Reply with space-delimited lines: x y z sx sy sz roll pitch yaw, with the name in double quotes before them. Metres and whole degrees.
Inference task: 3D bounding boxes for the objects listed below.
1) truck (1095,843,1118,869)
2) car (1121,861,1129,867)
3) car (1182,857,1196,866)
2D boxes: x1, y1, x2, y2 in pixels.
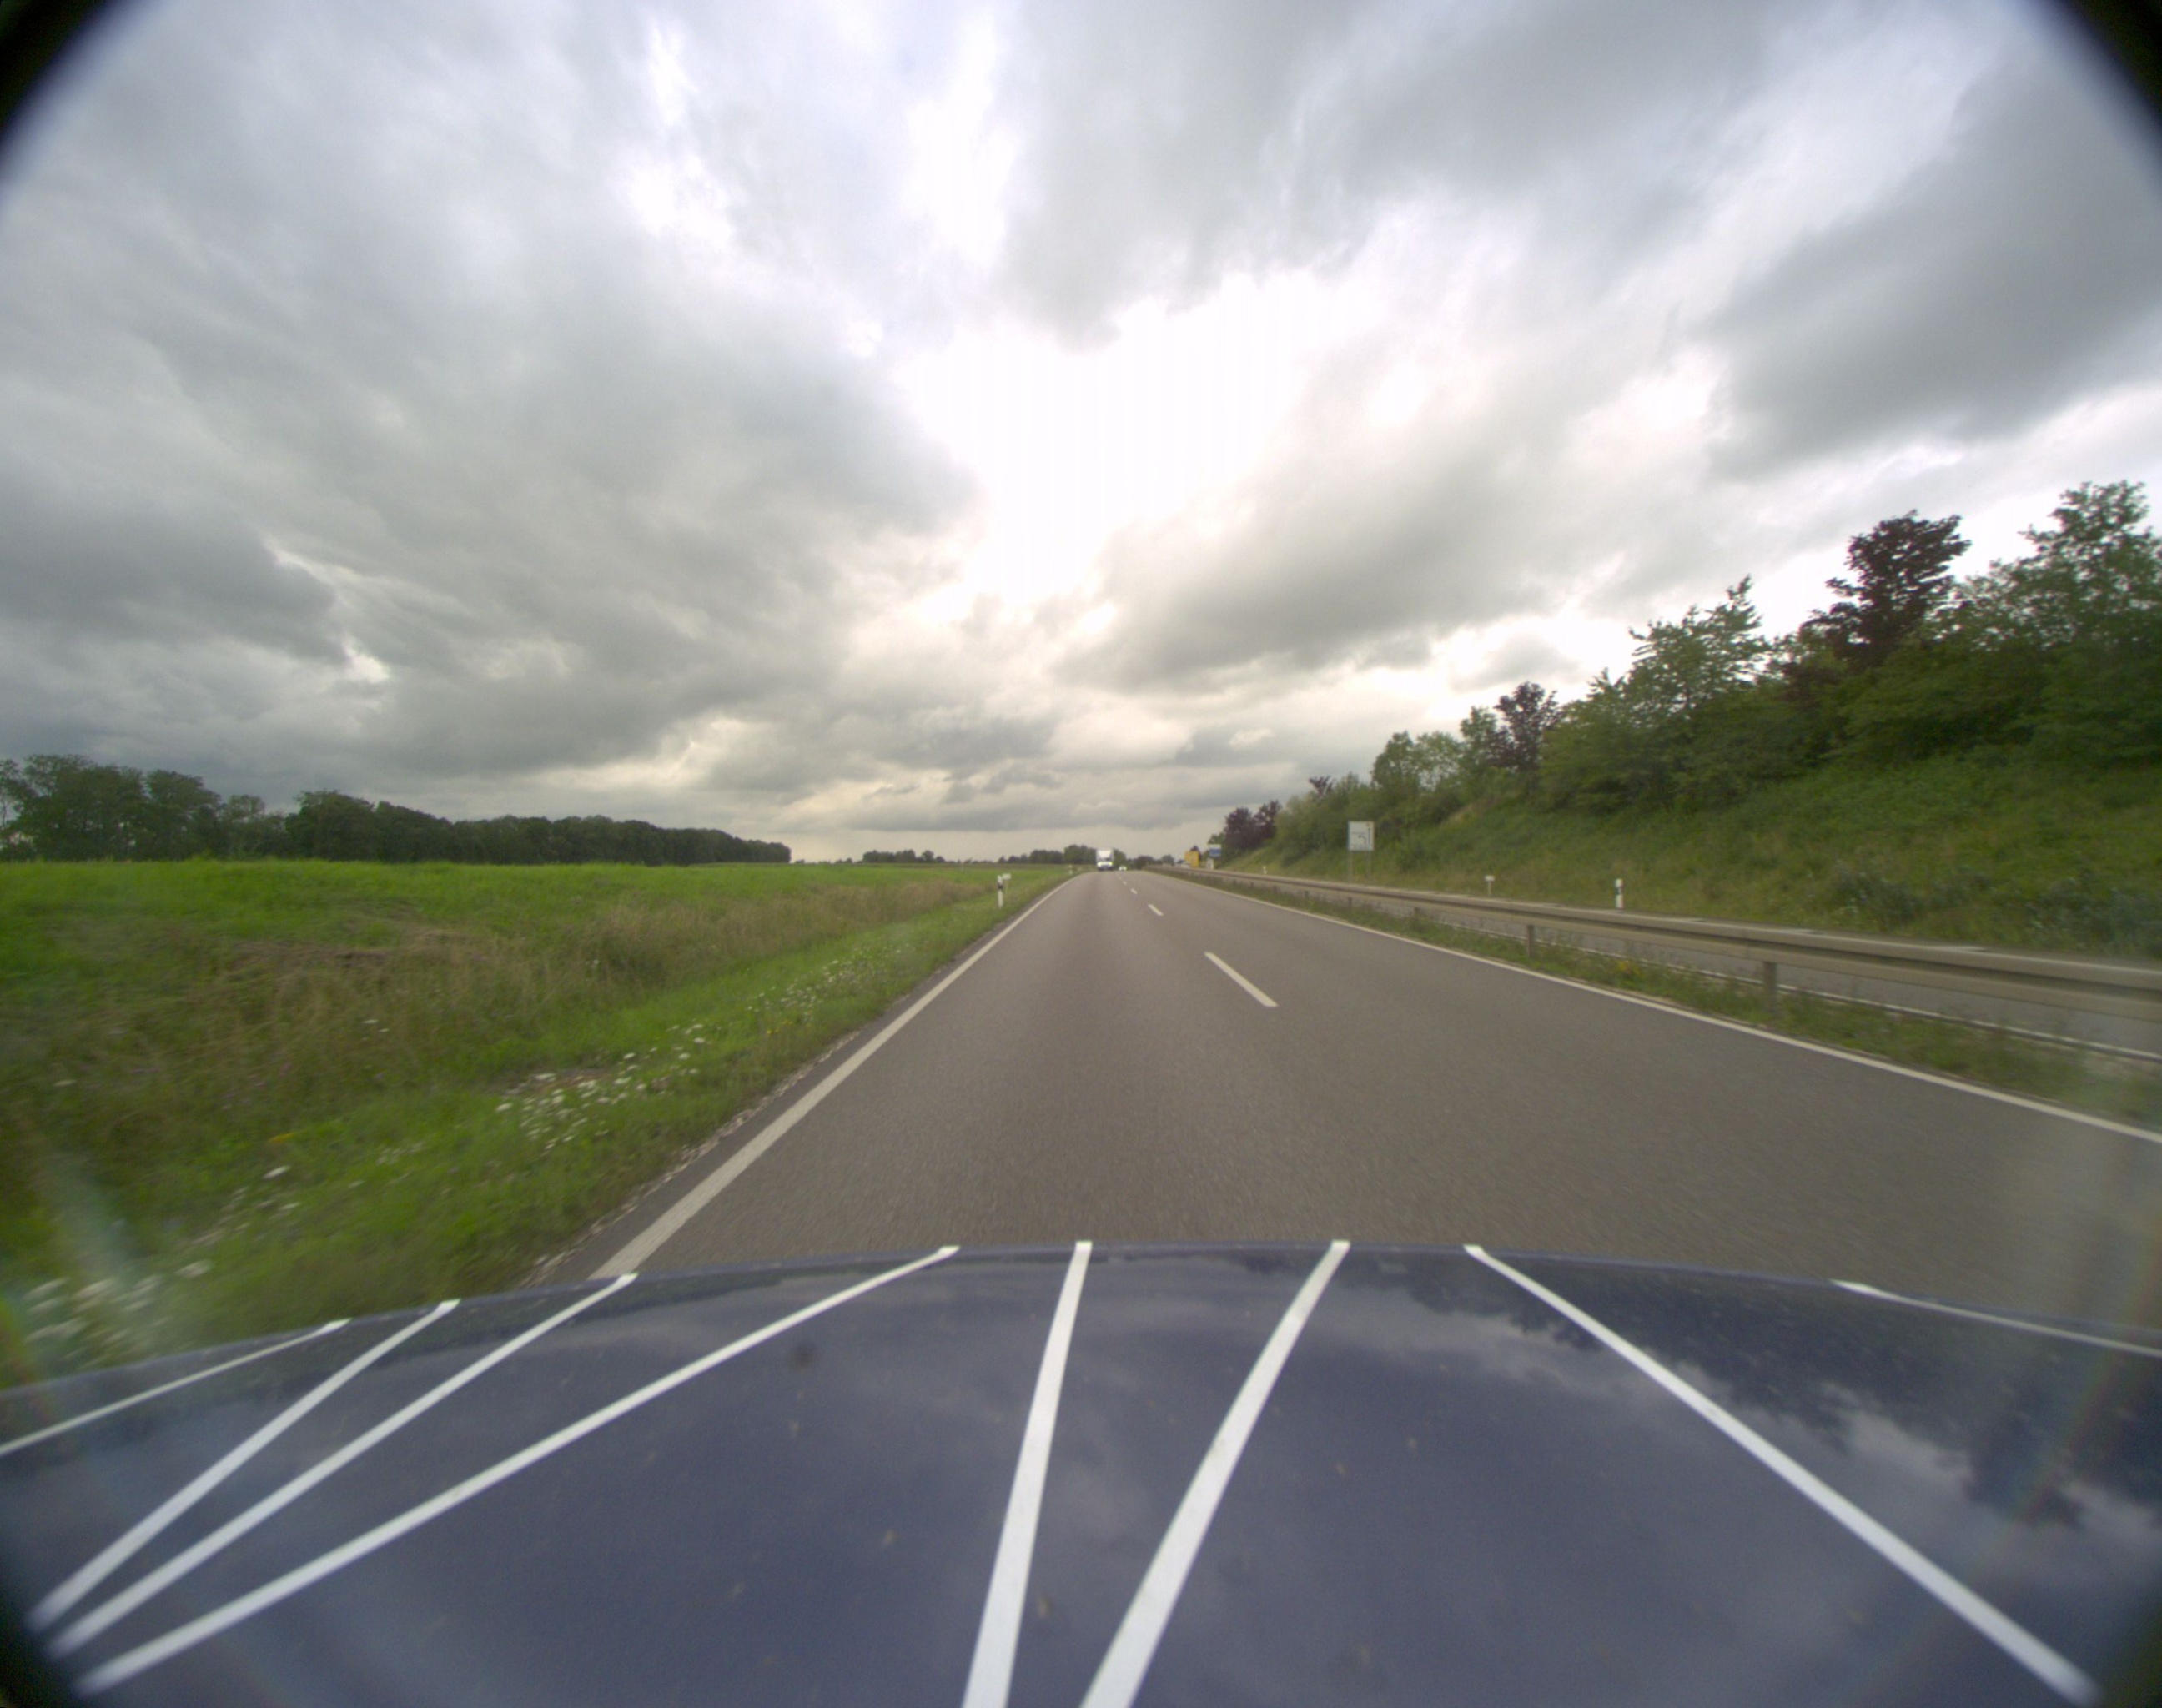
"truck" 4.044 0.341 116.651 2.933 3.651 8.449 0 -2 6
"car" 11.937 2.726 205.439 2.090 1.509 4.196 0 -2 6
"car" 19.429 1.418 136.721 1.925 1.508 4.465 0 -2 1
